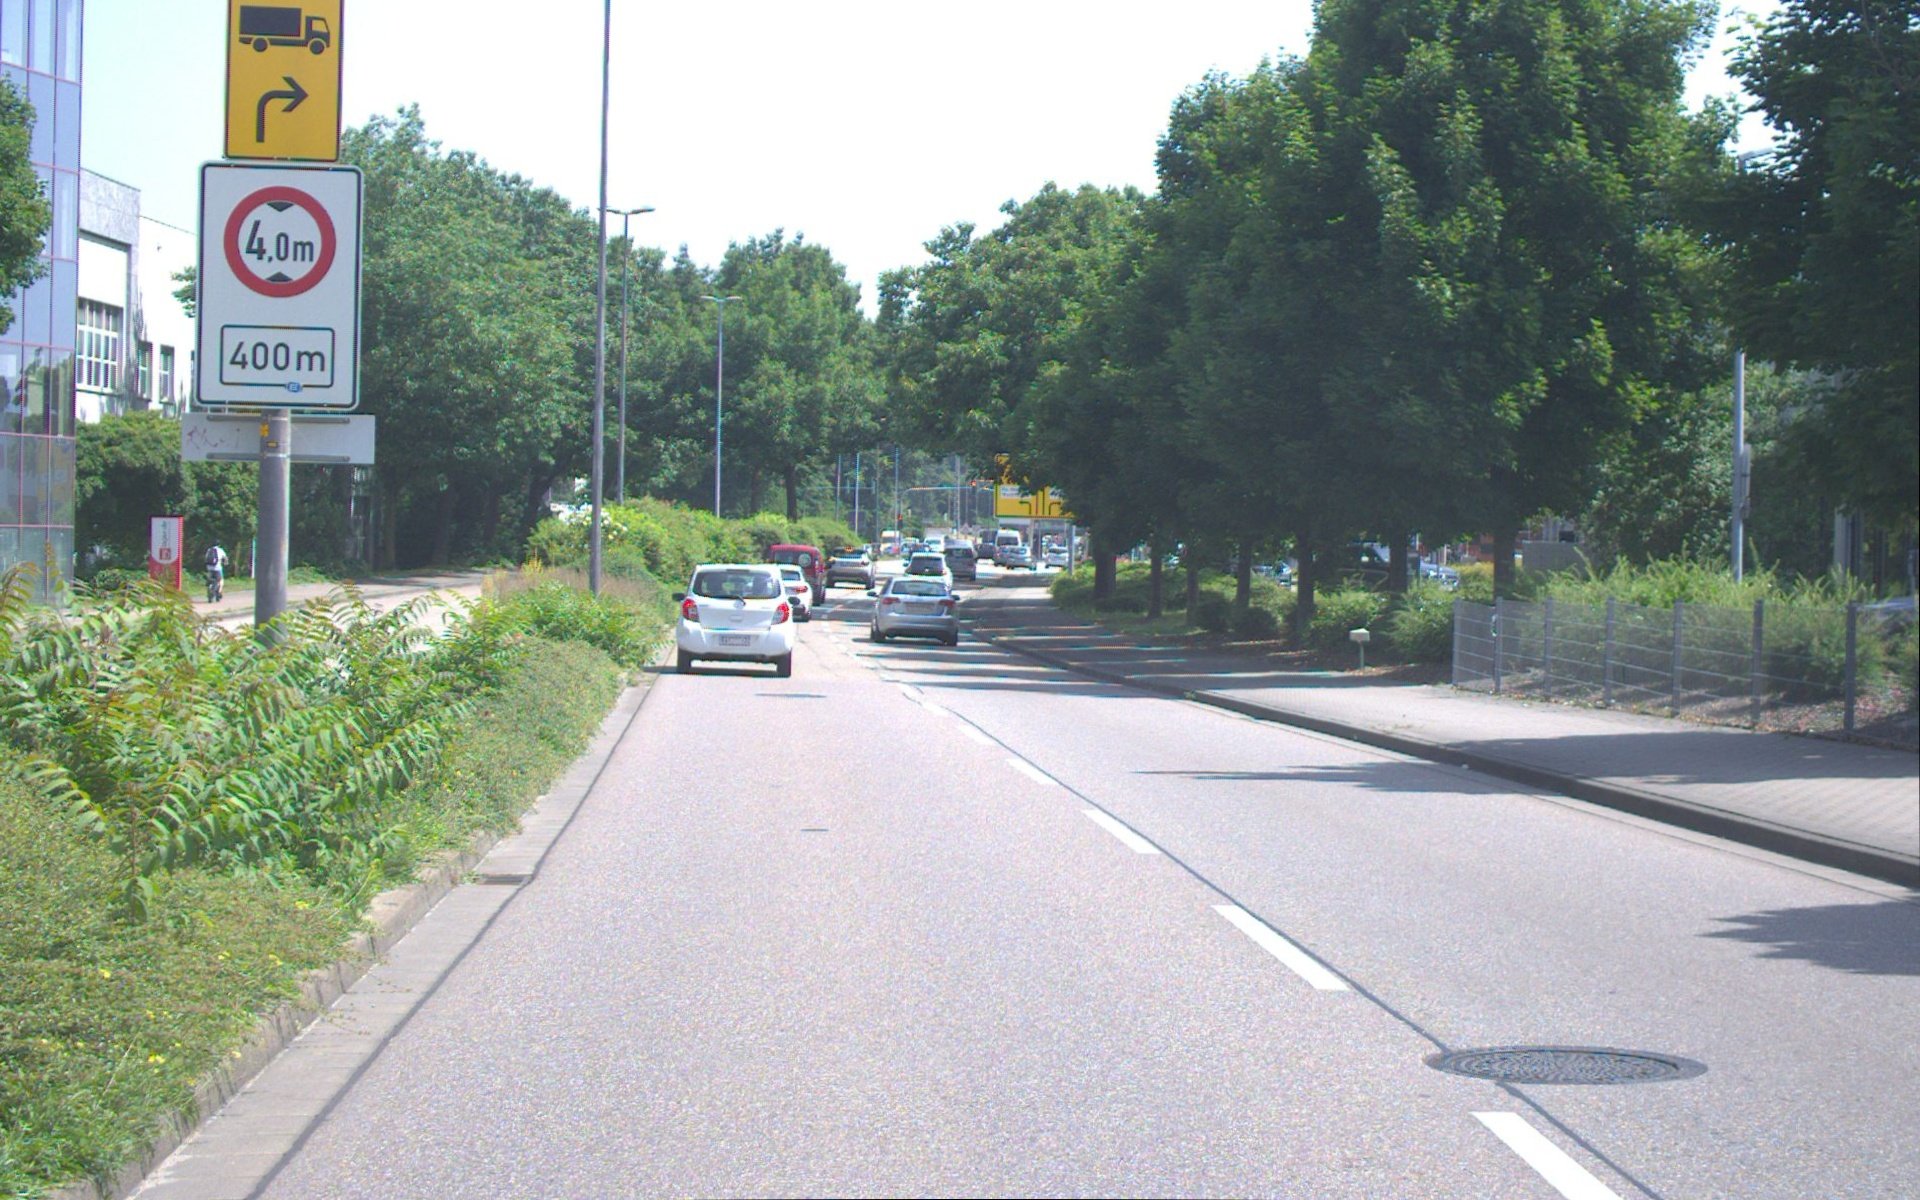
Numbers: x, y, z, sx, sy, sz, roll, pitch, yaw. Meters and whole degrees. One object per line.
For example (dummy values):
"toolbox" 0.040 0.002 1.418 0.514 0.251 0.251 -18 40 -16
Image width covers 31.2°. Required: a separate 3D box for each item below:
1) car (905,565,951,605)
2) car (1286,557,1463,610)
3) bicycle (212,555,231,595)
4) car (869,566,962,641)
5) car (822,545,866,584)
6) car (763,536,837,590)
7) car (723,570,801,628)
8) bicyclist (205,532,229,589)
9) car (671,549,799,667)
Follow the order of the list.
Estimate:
"car" -1.120 -0.513 118.583 1.441 1.343 3.460 0 1 -3
"car" 10.978 -0.454 91.278 1.947 1.347 4.714 -1 1 -37
"bicycle" -19.701 -0.666 91.740 0.346 1.064 0.923 -1 0 -3
"car" -0.966 0.054 73.046 1.865 1.468 4.000 2 0 -1
"car" -4.290 -1.310 127.043 1.487 1.387 3.308 2 0 -3
"car" -4.809 -1.117 103.783 1.885 1.603 4.000 0 1 2
"car" -5.022 -0.044 87.092 1.884 1.349 4.001 2 0 -3
"bicyclist" -19.817 -1.059 91.695 0.545 1.504 0.343 -1 0 -3
"car" -3.142 0.087 48.484 1.638 1.547 3.325 2 0 -2
